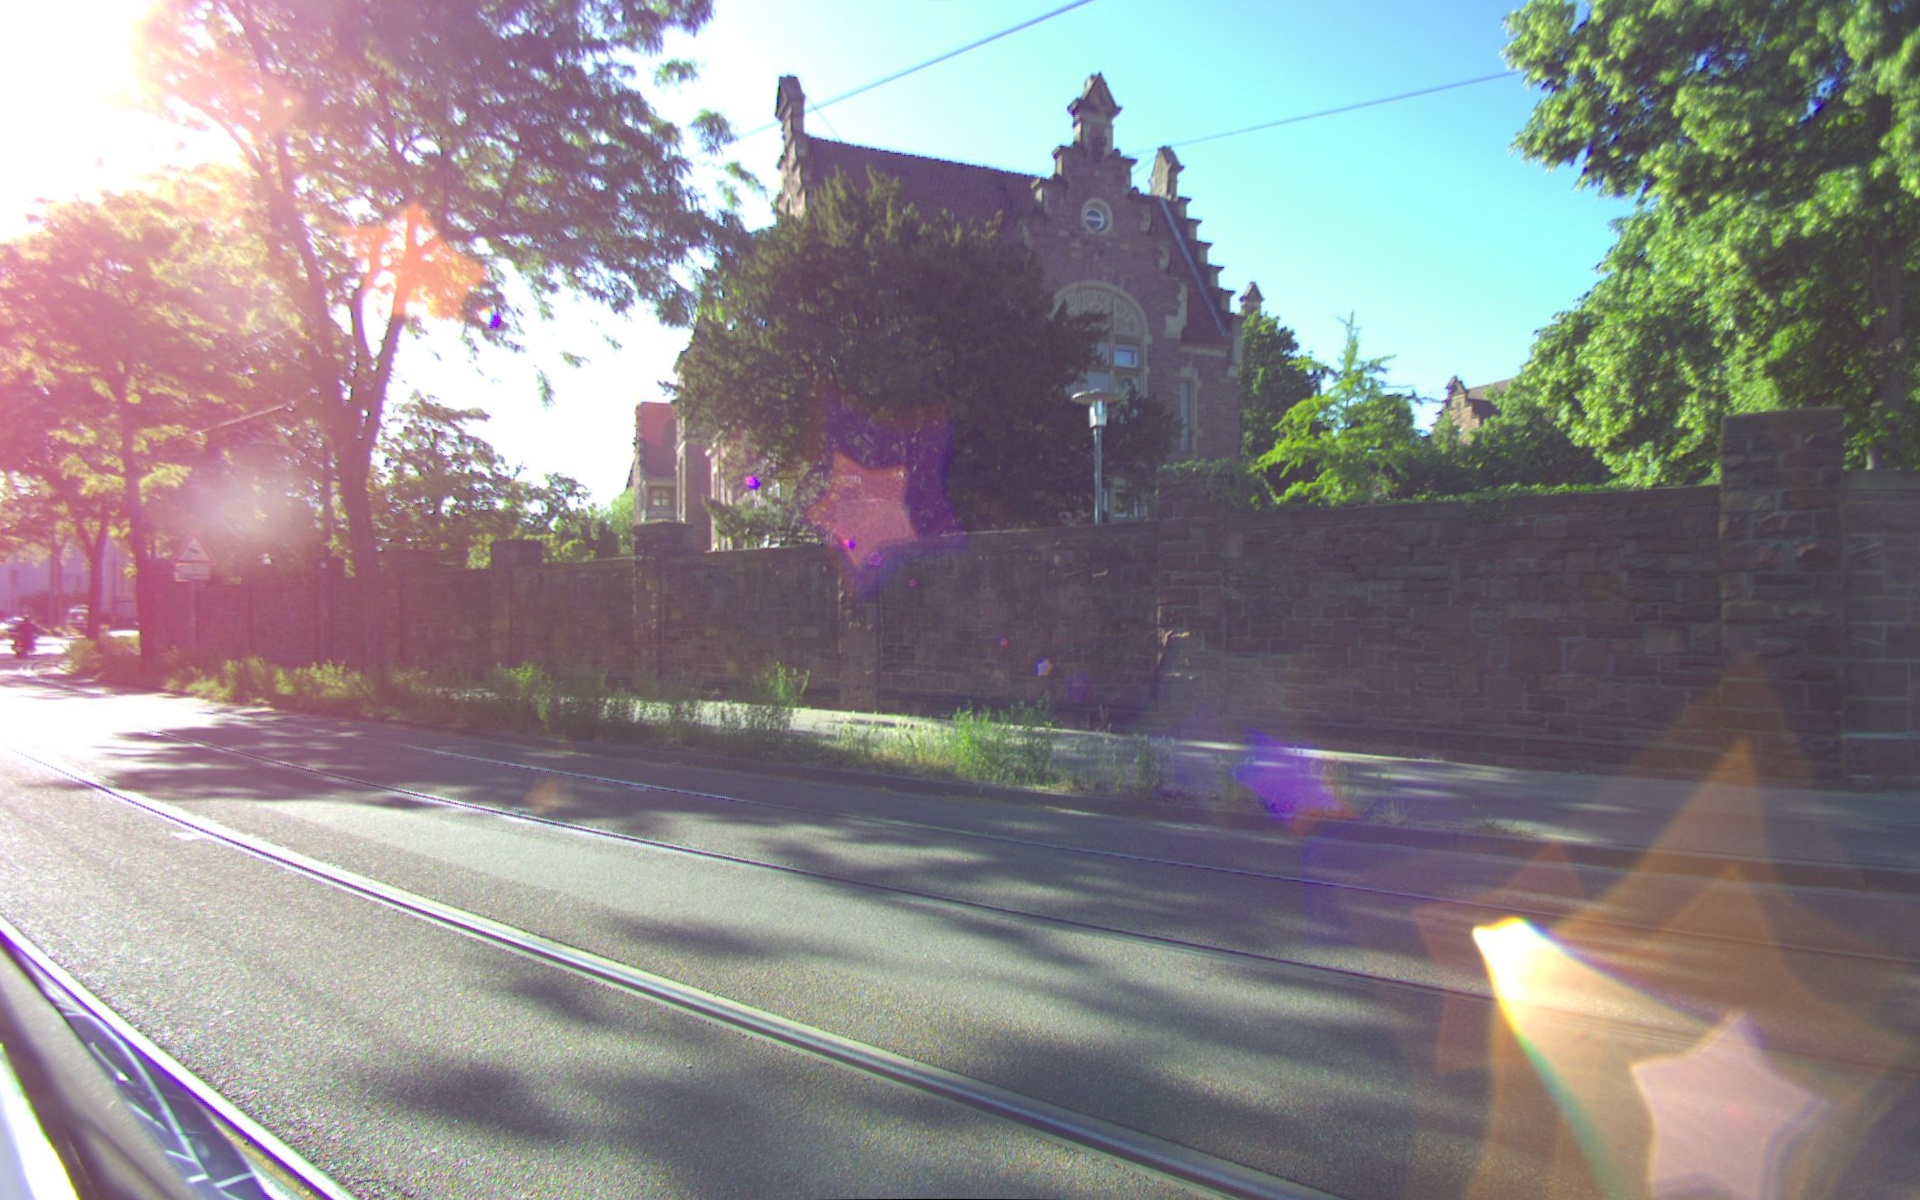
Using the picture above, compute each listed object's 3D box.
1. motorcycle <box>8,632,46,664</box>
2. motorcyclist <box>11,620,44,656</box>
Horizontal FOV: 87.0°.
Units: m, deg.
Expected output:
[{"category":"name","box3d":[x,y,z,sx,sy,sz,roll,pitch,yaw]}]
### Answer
[{"category":"motorcycle","box3d":[-36.568,1.861,39.657,2.429,1.162,0.901,-1,-1,43]},{"category":"motorcyclist","box3d":[-36.574,1.486,39.676,0.908,1.393,0.879,-2,-1,43]}]
